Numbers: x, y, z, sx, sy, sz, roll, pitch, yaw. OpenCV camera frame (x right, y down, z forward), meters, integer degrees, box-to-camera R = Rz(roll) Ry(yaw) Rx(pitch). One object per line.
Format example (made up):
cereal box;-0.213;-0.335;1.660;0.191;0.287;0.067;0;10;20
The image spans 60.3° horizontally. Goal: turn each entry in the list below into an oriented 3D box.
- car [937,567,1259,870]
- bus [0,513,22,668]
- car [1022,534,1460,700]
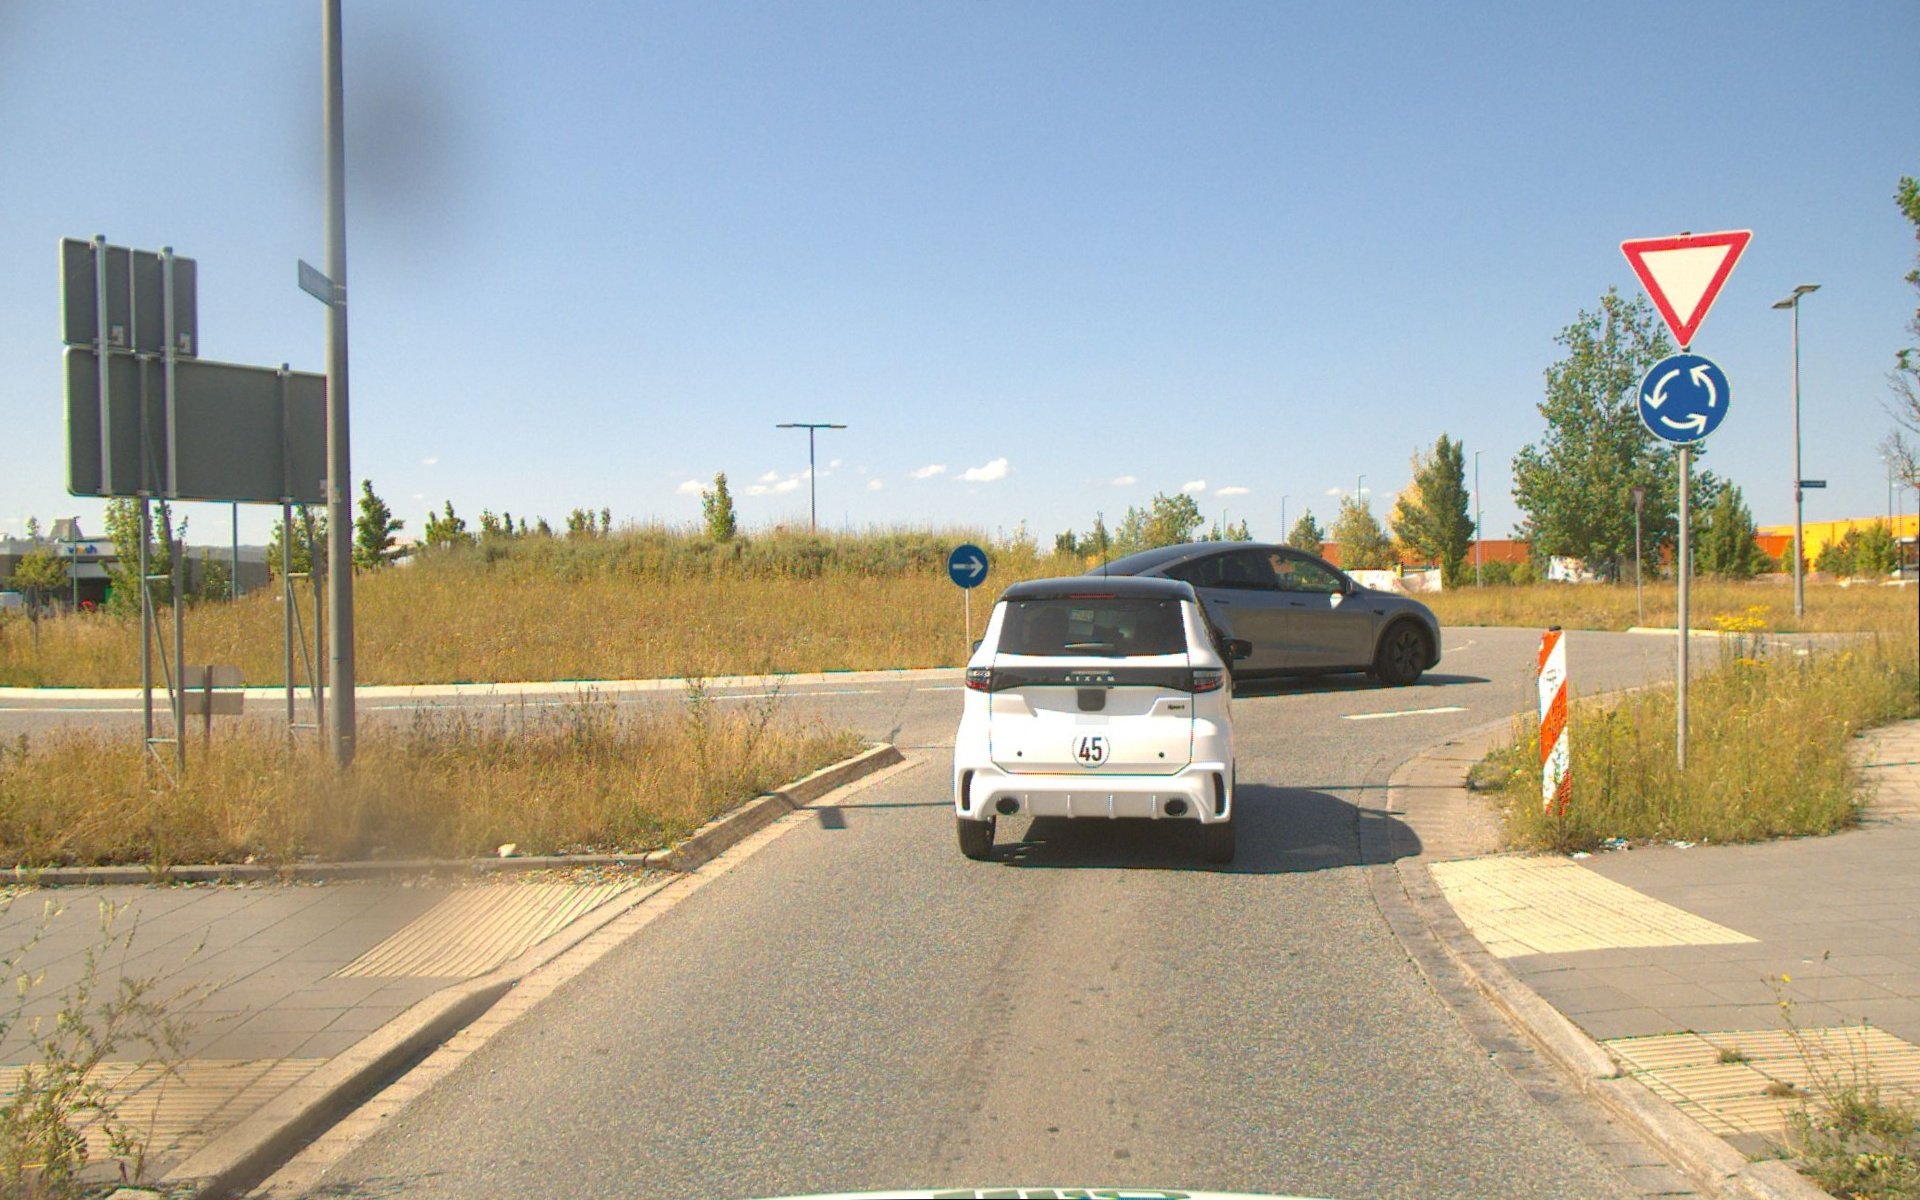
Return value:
car;0.960;0.559;10.122;1.582;1.459;3.796;-1;1;9
bus;-19.917;-0.075;28.215;2.736;3.132;12.174;-2;1;-10
car;3.165;0.120;18.632;4.547;1.654;1.950;-1;1;-23
